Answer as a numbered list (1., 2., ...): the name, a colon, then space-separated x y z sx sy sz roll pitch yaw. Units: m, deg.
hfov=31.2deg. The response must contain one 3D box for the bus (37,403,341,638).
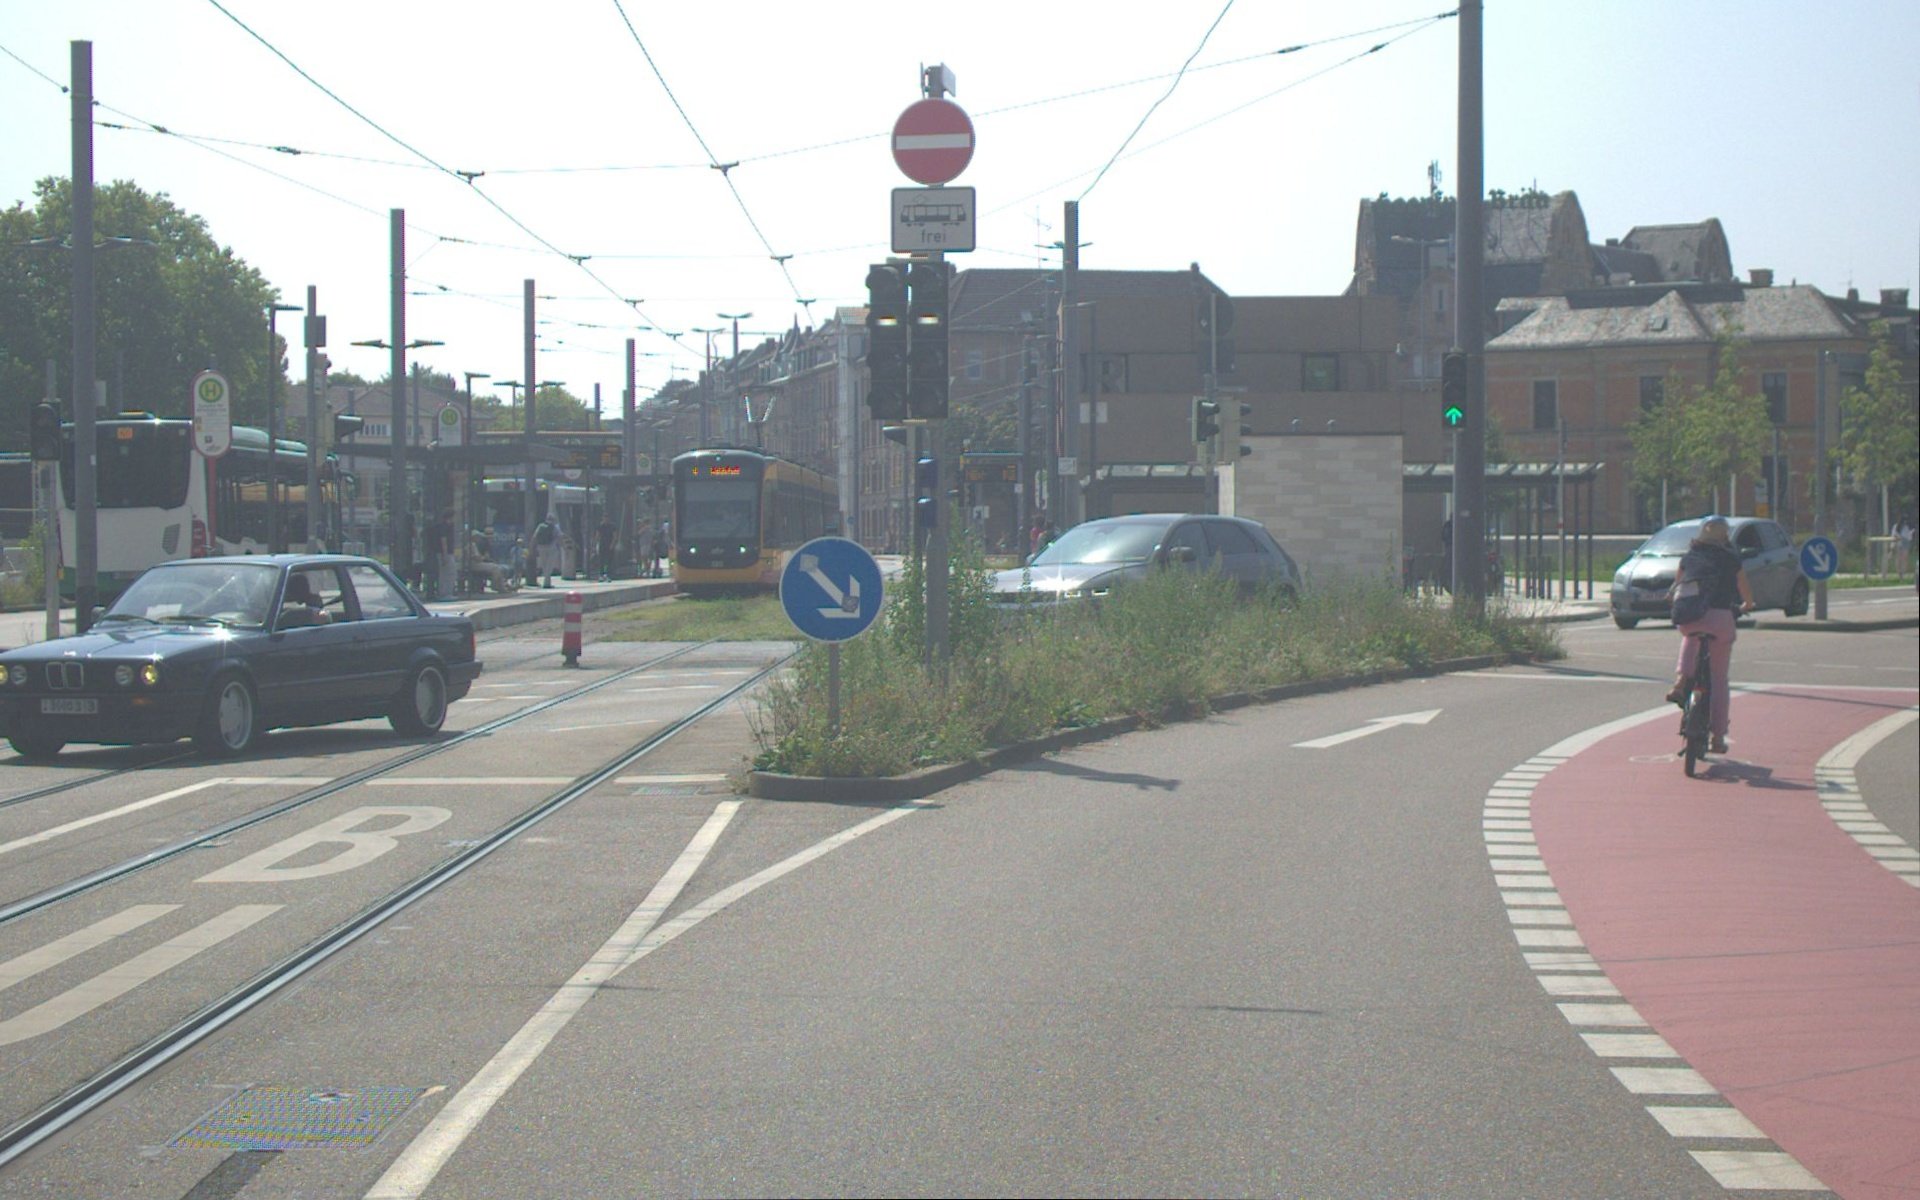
1. bus: -13.362 -1.364 60.658 2.958 3.762 10.597 0 1 0

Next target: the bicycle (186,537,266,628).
1. bicycle: -10.080 -0.249 47.270 0.607 1.218 1.705 0 1 5

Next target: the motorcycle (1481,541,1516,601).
1. motorcycle: 11.047 -0.605 70.430 0.604 1.206 2.252 0 1 12

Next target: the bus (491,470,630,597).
1. bus: -12.256 -2.037 106.320 2.710 3.714 10.418 1 1 2

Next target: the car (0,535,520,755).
1. car: -4.944 0.243 24.042 1.689 1.373 4.613 0 1 22

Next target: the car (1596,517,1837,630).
1. car: 10.770 -0.407 48.756 1.654 1.525 4.316 0 1 38

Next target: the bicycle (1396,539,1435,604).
1. bicycle: 8.615 -0.556 65.011 0.604 1.206 1.810 0 1 12

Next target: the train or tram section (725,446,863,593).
1. train or tram section: -4.889 -2.398 105.091 2.886 4.054 19.141 0 1 1

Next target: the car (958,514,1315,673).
1. car: 1.979 -0.114 37.009 1.775 1.605 4.665 0 1 32

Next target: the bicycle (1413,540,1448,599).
1. bicycle: 9.857 -0.651 71.952 0.604 1.206 1.810 0 1 12

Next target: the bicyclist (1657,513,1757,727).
1. bicyclist: 4.749 0.119 21.837 0.603 1.330 0.659 0 1 14

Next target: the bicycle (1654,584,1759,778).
1. bicycle: 4.789 0.492 21.999 0.604 1.159 1.809 0 1 14

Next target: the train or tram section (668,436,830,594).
1. train or tram section: -5.109 -2.068 86.571 2.856 3.536 17.743 0 1 0

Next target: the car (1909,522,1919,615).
1. car: 17.528 -0.560 57.772 1.700 1.525 4.174 0 1 36

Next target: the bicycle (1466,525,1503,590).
1. bicycle: 9.911 -0.816 64.929 0.604 1.206 1.810 0 1 12
